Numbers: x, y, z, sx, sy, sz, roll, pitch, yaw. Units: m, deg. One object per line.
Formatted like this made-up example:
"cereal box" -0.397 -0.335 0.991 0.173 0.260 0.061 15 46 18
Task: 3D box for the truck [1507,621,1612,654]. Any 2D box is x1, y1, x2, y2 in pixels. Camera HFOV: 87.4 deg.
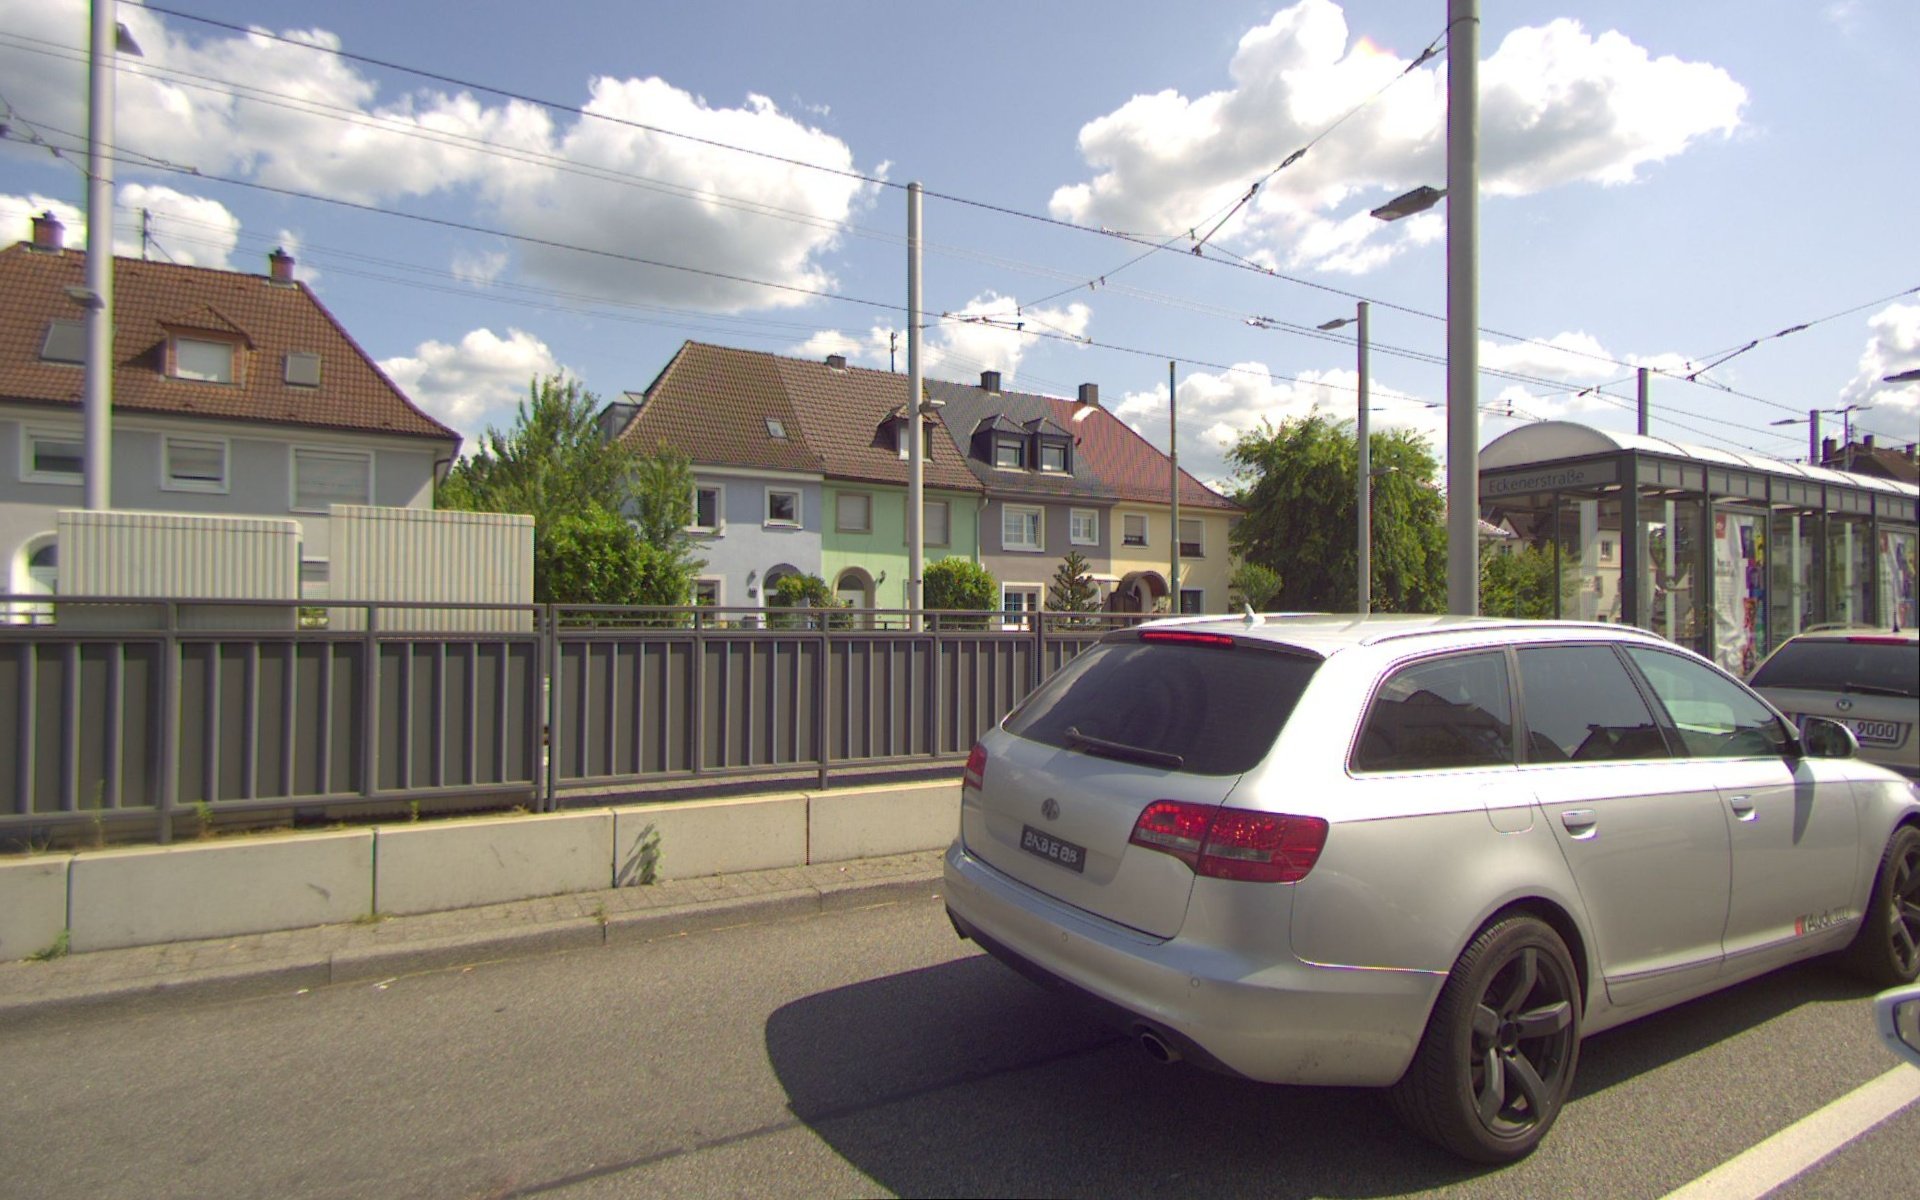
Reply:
"truck" 40.083 2.486 67.387 1.667 1.947 6.166 2 0 -25

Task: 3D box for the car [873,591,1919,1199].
"car" 2.149 0.788 4.084 4.667 1.491 1.786 2 0 -31

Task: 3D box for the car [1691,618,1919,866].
"car" 7.398 0.932 7.439 4.075 1.468 1.722 2 0 -31
